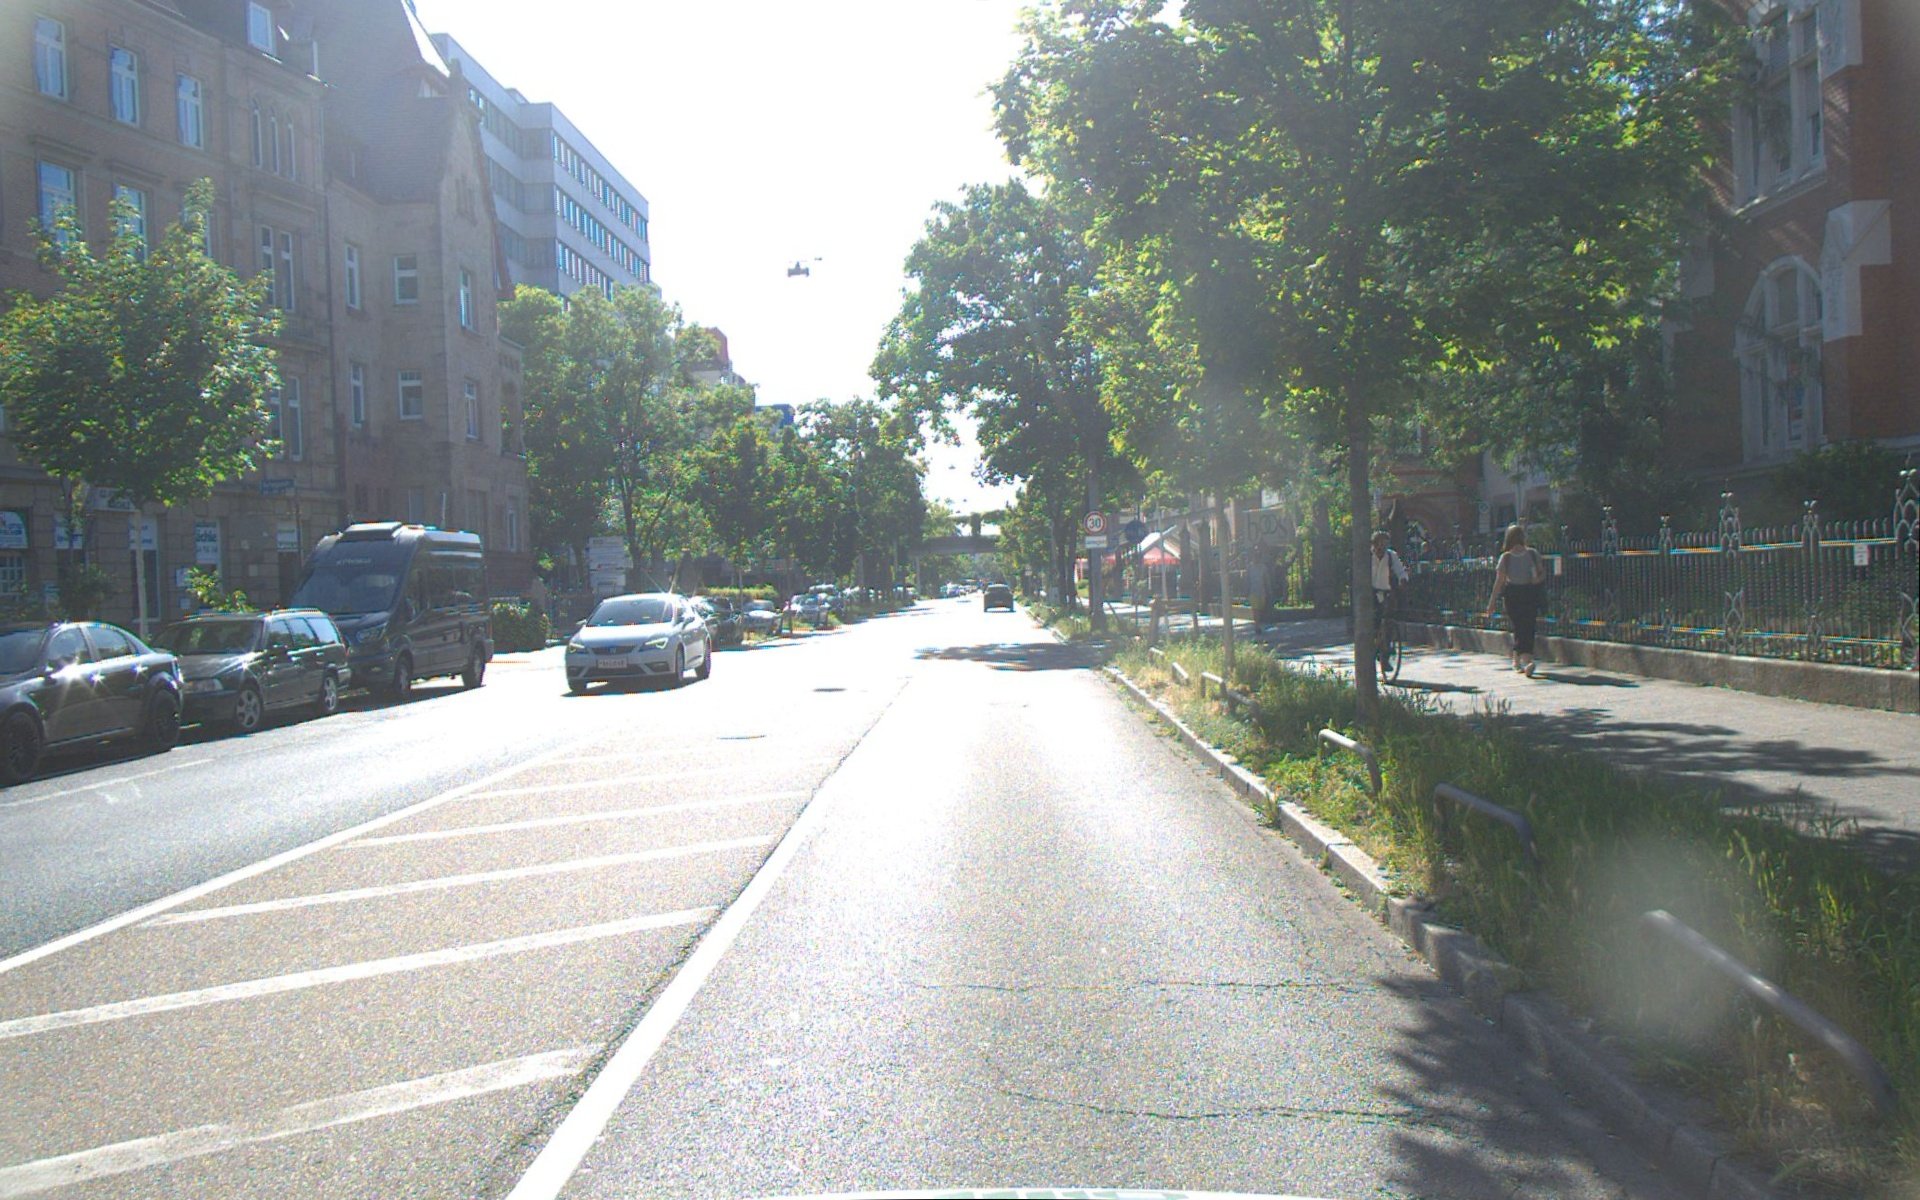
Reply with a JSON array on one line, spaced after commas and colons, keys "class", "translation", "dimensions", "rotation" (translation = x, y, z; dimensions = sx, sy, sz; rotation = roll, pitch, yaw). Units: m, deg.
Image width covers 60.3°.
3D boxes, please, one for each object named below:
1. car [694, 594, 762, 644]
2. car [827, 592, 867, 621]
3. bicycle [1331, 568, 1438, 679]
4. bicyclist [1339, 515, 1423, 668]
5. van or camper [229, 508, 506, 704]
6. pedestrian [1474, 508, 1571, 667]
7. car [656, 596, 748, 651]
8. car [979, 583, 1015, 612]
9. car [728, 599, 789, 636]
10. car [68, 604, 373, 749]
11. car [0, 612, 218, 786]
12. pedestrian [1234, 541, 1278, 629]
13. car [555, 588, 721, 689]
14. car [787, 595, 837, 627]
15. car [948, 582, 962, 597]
[{"class": "car", "translation": [-7.563, 0.574, 54.315], "dimensions": [1.819, 1.520, 4.702], "rotation": [1, 0, -4]}, {"class": "car", "translation": [-6.084, 0.309, 89.185], "dimensions": [1.676, 1.484, 4.073], "rotation": [-1, 0, 3]}, {"class": "bicycle", "translation": [5.009, 0.257, 19.621], "dimensions": [0.604, 1.196, 1.918], "rotation": [-5, 1, -3]}, {"class": "bicyclist", "translation": [4.970, -0.108, 19.569], "dimensions": [0.608, 1.719, 0.820], "rotation": [-5, 1, -3]}, {"class": "van or camper", "translation": [-9.477, 0.054, 27.165], "dimensions": [2.170, 2.787, 6.089], "rotation": [-2, 1, 1]}, {"class": "pedestrian", "translation": [6.290, -0.138, 18.534], "dimensions": [0.680, 1.687, 0.820], "rotation": [-5, 0, 0]}, {"class": "car", "translation": [-7.590, 0.657, 49.111], "dimensions": [1.817, 1.452, 4.721], "rotation": [2, 0, 2]}, {"class": "car", "translation": [2.137, -0.167, 96.279], "dimensions": [1.944, 1.628, 4.140], "rotation": [-1, 1, 0]}, {"class": "car", "translation": [-7.476, 0.635, 61.658], "dimensions": [1.643, 1.277, 4.016], "rotation": [-1, 0, 2]}, {"class": "car", "translation": [-9.278, 0.880, 21.219], "dimensions": [1.659, 1.482, 4.664], "rotation": [-4, 1, 1]}, {"class": "car", "translation": [-9.215, 0.934, 16.211], "dimensions": [1.744, 1.438, 4.406], "rotation": [-4, 1, 1]}, {"class": "pedestrian", "translation": [6.330, -0.328, 35.342], "dimensions": [0.732, 1.818, 0.811], "rotation": [-5, 0, 15]}, {"class": "car", "translation": [-5.158, 0.564, 27.071], "dimensions": [1.879, 1.444, 4.225], "rotation": [-2, 1, -1]}, {"class": "car", "translation": [-6.920, 0.488, 77.613], "dimensions": [1.653, 1.407, 4.193], "rotation": [-1, 0, 4]}, {"class": "car", "translation": [-0.647, -1.368, 215.221], "dimensions": [1.818, 1.856, 4.610], "rotation": [-4, 0, 0]}]
